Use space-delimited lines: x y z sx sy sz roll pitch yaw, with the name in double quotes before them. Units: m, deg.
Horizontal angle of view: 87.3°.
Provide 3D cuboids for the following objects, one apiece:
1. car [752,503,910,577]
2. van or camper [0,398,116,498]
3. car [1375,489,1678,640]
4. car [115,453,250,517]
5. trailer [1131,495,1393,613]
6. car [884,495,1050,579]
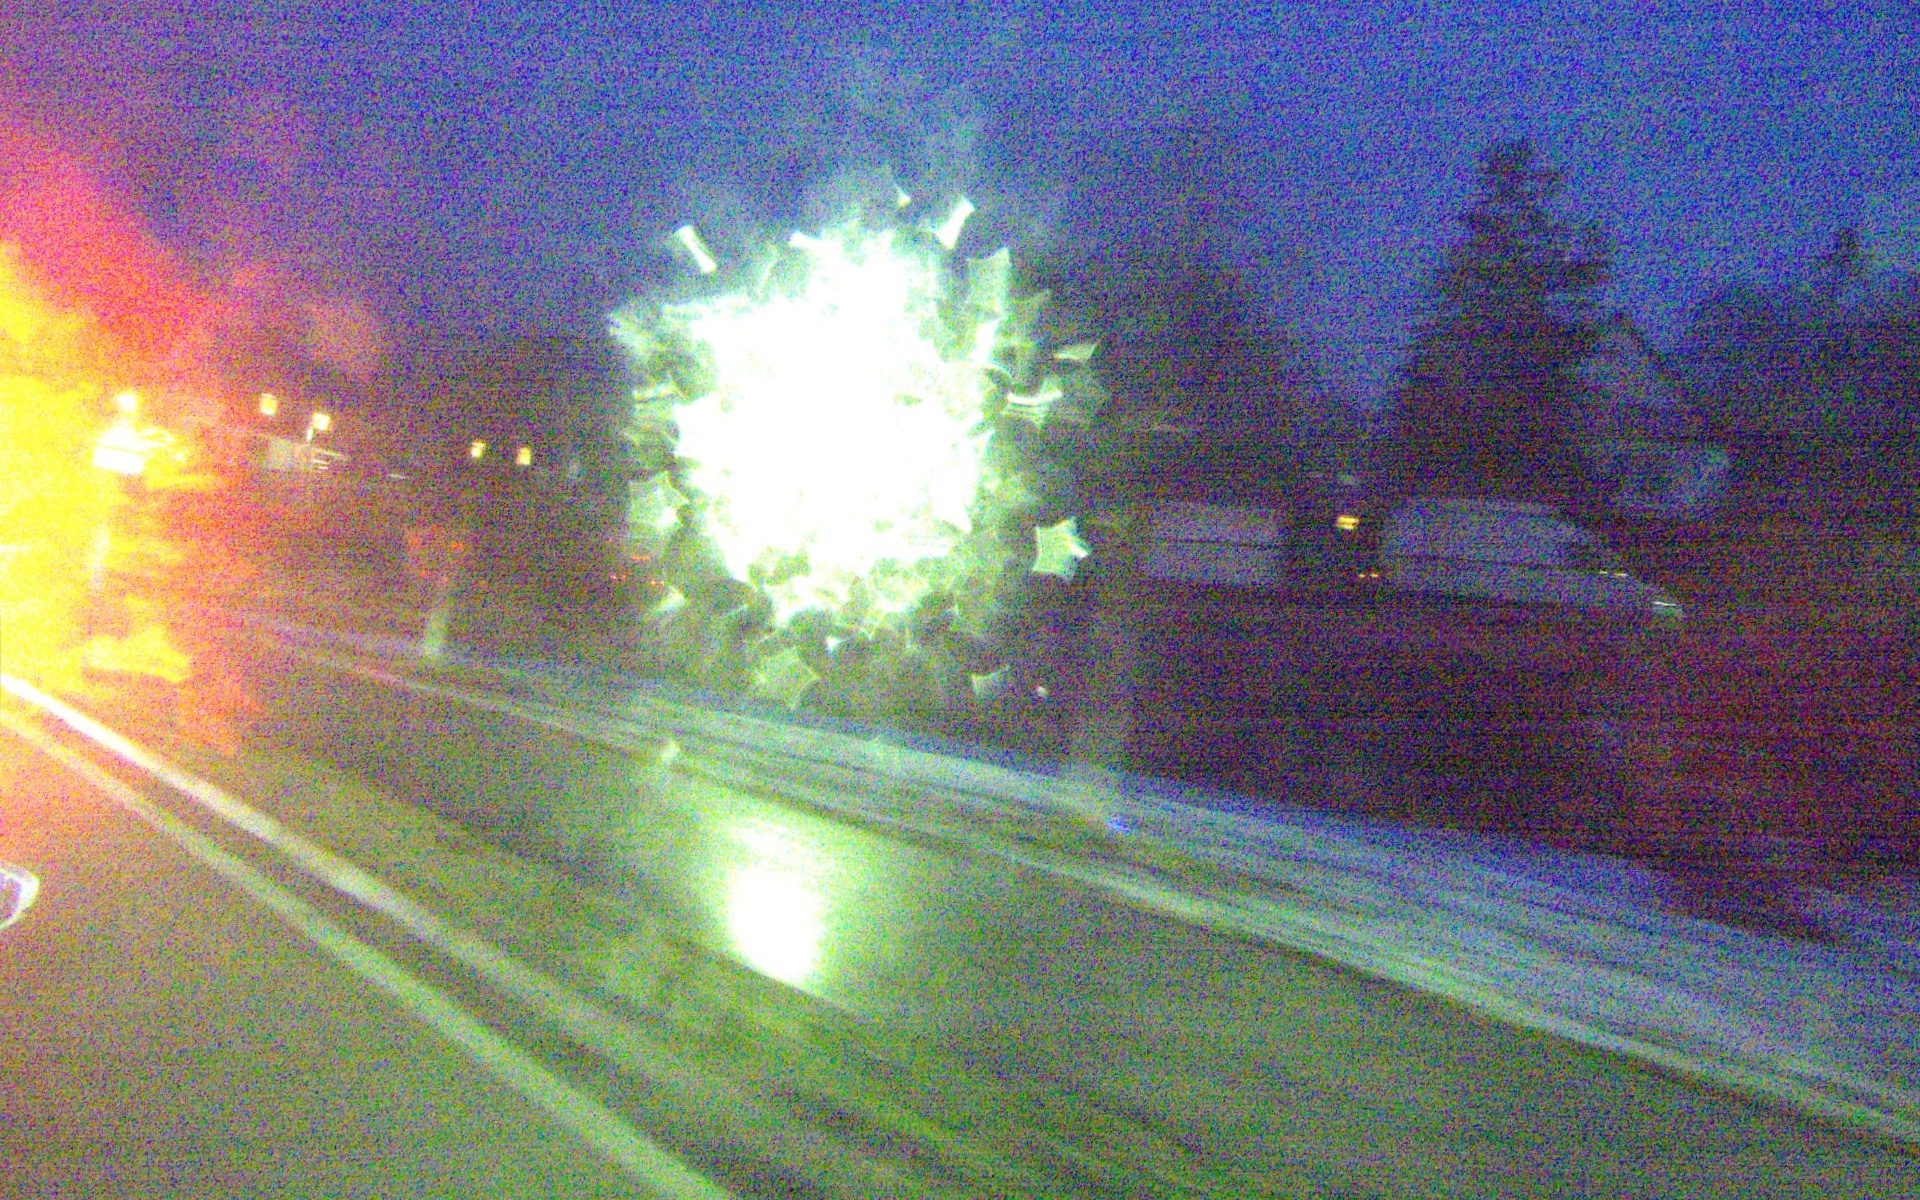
"car" -3.573 -1.662 27.962 3.925 1.490 1.619 7 -2 18
"van or camper" -34.576 -5.654 36.646 6.238 2.943 2.590 7 -1 16
"car" 12.362 -0.795 22.465 5.349 2.666 2.122 7 -1 20
"car" -27.715 -4.094 35.884 4.056 1.637 1.643 7 -1 17
"trailer" 7.224 -1.104 24.269 5.614 2.096 2.234 7 -1 20
"car" 0.211 -1.653 26.577 3.925 1.659 1.619 7 -1 18
